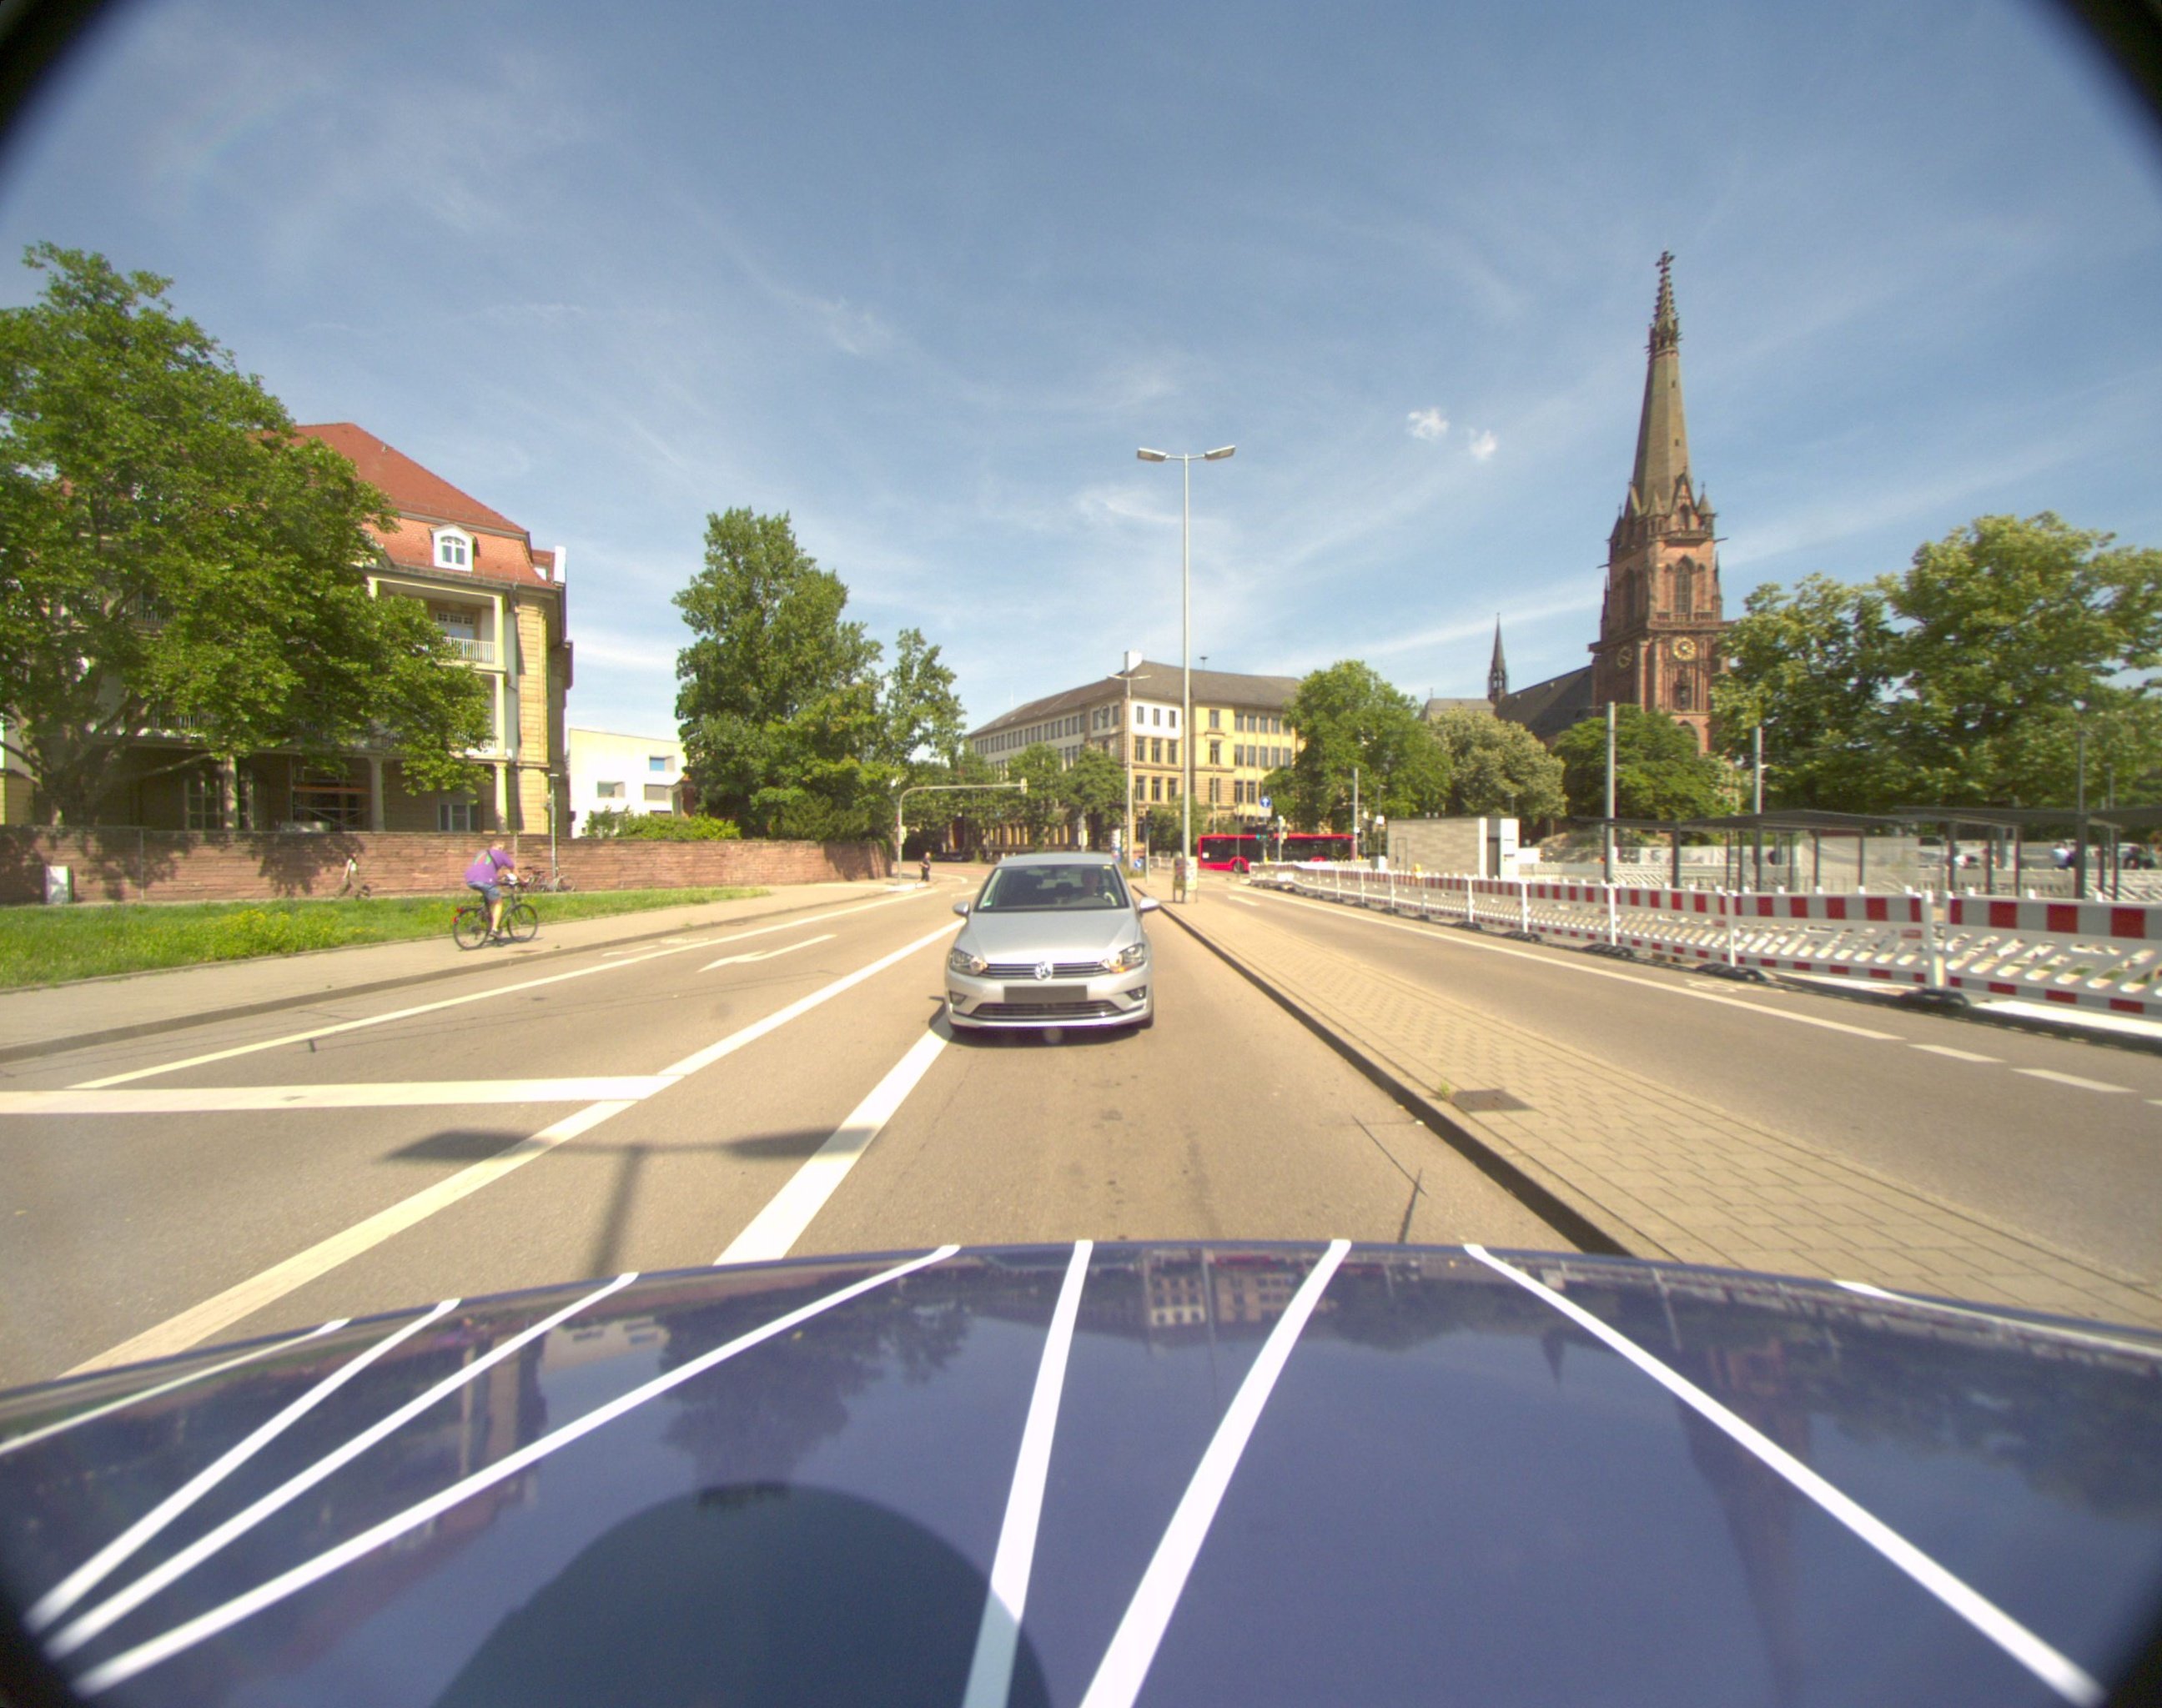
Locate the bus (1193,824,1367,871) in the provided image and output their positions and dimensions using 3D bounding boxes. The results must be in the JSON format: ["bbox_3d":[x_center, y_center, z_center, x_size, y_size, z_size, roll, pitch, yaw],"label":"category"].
[{"bbox_3d":[15.034,-0.425,58.034,12.380,3.076,3.138,-2,1,30],"label":"bus"}]

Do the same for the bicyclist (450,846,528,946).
[{"bbox_3d":[-10.060,0.682,12.950,0.488,1.627,1.084,0,1,-2],"label":"bicyclist"}]

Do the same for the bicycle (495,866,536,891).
[{"bbox_3d":[-21.366,0.912,28.712,0.393,0.878,1.230,1,1,20],"label":"bicycle"}]

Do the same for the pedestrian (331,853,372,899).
[{"bbox_3d":[-24.584,0.727,25.631,0.915,1.539,0.502,-1,2,-36],"label":"pedestrian"}]

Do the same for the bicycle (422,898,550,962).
[{"bbox_3d":[-10.062,1.256,12.952,0.685,0.882,1.932,0,1,-1],"label":"bicycle"}]

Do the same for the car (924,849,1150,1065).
[{"bbox_3d":[-0.234,0.752,7.734,1.687,1.577,4.152,0,1,3],"label":"car"}]

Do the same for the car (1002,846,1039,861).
[{"bbox_3d":[-7.468,-0.057,94.131,4.006,1.653,1.994,-3,4,-34],"label":"car"}]

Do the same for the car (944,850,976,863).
[{"bbox_3d":[-17.595,0.303,110.484,4.006,1.653,1.994,-3,4,-35],"label":"car"}]

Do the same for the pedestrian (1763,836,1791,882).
[{"bbox_3d":[30.845,0.212,33.665,0.822,2.002,0.685,0,1,-33],"label":"pedestrian"}]

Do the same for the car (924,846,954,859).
[{"bbox_3d":[-21.708,-0.238,116.534,4.006,1.653,1.994,-3,4,-34],"label":"car"}]

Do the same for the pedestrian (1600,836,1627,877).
[{"bbox_3d":[26.261,0.119,37.486,0.820,2.002,0.686,0,1,3],"label":"pedestrian"}]

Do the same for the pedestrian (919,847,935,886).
[{"bbox_3d":[-7.977,0.645,39.388,0.796,2.002,0.615,0,1,-14],"label":"pedestrian"}]

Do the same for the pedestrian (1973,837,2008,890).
[{"bbox_3d":[35.043,0.366,29.266,0.822,2.002,0.685,0,1,-30],"label":"pedestrian"}]

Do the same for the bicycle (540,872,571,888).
[{"bbox_3d":[-20.596,1.020,29.798,0.274,0.598,0.950,1,1,39],"label":"bicycle"}]

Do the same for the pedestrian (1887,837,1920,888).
[{"bbox_3d":[32.637,0.323,30.165,0.822,2.002,0.685,0,1,-30],"label":"pedestrian"}]

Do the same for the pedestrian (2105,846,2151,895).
[{"bbox_3d":[36.301,0.567,26.352,0.743,1.652,0.822,1,1,42],"label":"pedestrian"}]

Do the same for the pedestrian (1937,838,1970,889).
[{"bbox_3d":[34.213,0.359,29.797,0.822,2.002,0.685,-1,2,-30],"label":"pedestrian"}]
